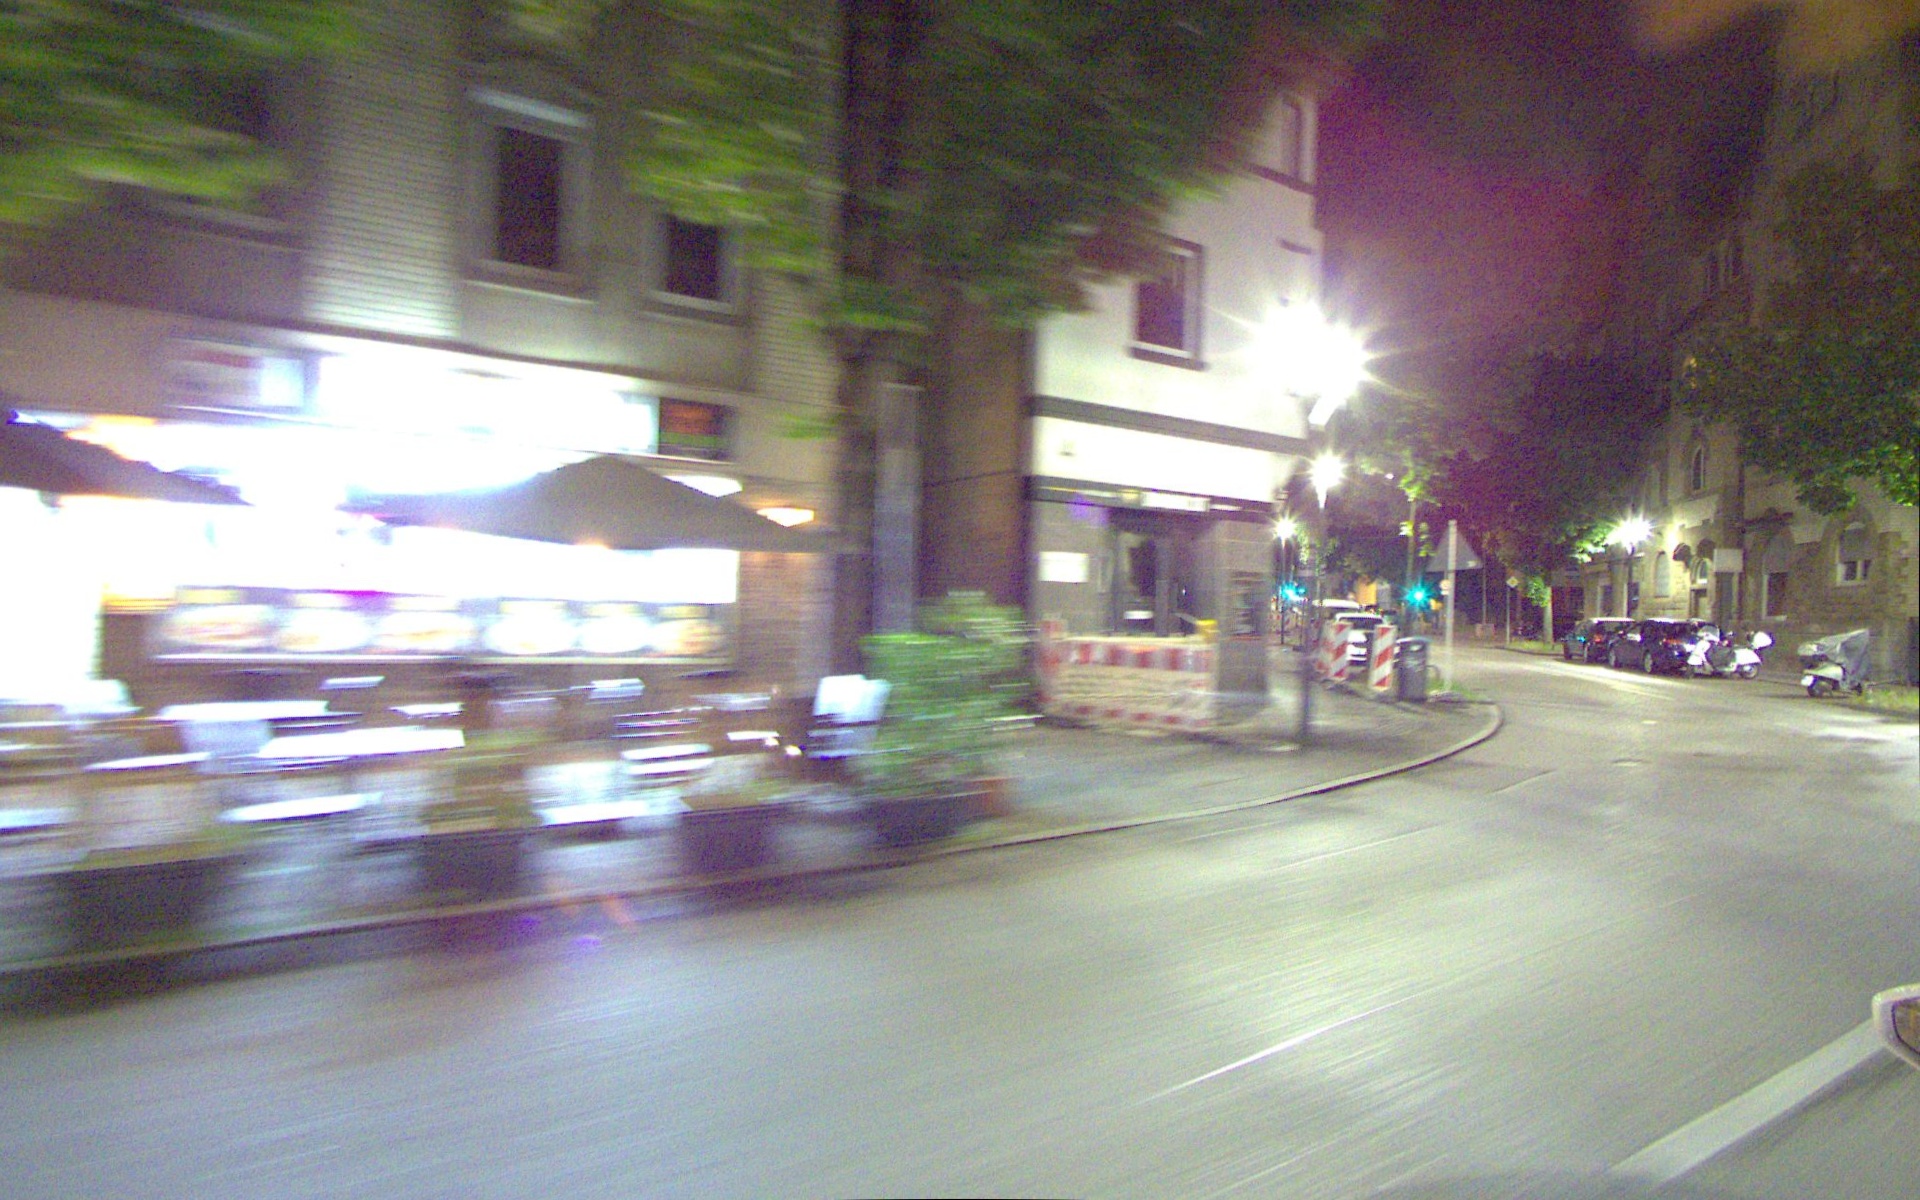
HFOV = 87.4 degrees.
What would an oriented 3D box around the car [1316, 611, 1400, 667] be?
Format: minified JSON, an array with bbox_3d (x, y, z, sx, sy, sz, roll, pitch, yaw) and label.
[{"bbox_3d":[11.800,1.100,30.067,1.808,1.469,4.883,2,0,16],"label":"car"}]

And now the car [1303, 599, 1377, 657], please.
[{"bbox_3d":[13.402,0.940,35.685,1.851,1.868,4.817,2,0,14],"label":"car"}]

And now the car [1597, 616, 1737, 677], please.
[{"bbox_3d":[19.808,1.248,28.371,1.703,1.521,4.469,1,0,14],"label":"car"}]

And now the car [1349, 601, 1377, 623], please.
[{"bbox_3d":[36.365,1.076,90.672,1.706,1.880,4.318,1,0,13],"label":"car"}]

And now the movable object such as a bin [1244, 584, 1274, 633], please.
[{"bbox_3d":[16.725,0.473,56.269,1.545,2.662,3.911,1,0,16],"label":"movable object such as a bin"}]

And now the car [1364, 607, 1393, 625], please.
[{"bbox_3d":[35.072,1.325,84.312,1.657,1.440,4.445,1,0,15],"label":"car"}]

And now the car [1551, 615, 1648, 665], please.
[{"bbox_3d":[21.195,1.283,33.474,1.707,1.473,4.001,1,0,17],"label":"car"}]

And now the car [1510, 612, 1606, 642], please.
[{"bbox_3d":[31.509,1.427,53.014,3.946,1.441,1.853,1,-1,14],"label":"car"}]

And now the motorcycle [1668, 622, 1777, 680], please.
[{"bbox_3d":[19.390,1.280,25.584,2.018,1.425,0.925,0,0,6],"label":"motorcycle"}]

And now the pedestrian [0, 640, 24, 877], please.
[{"bbox_3d":[-5.209,0.800,5.025,0.671,1.179,0.571,1,0,-35],"label":"pedestrian"}]

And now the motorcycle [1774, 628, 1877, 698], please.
[{"bbox_3d":[17.756,1.277,20.605,1.915,1.371,0.759,1,0,-20],"label":"motorcycle"}]

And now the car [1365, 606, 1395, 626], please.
[{"bbox_3d":[33.452,1.283,80.041,1.710,1.497,4.001,-1,0,16],"label":"car"}]
